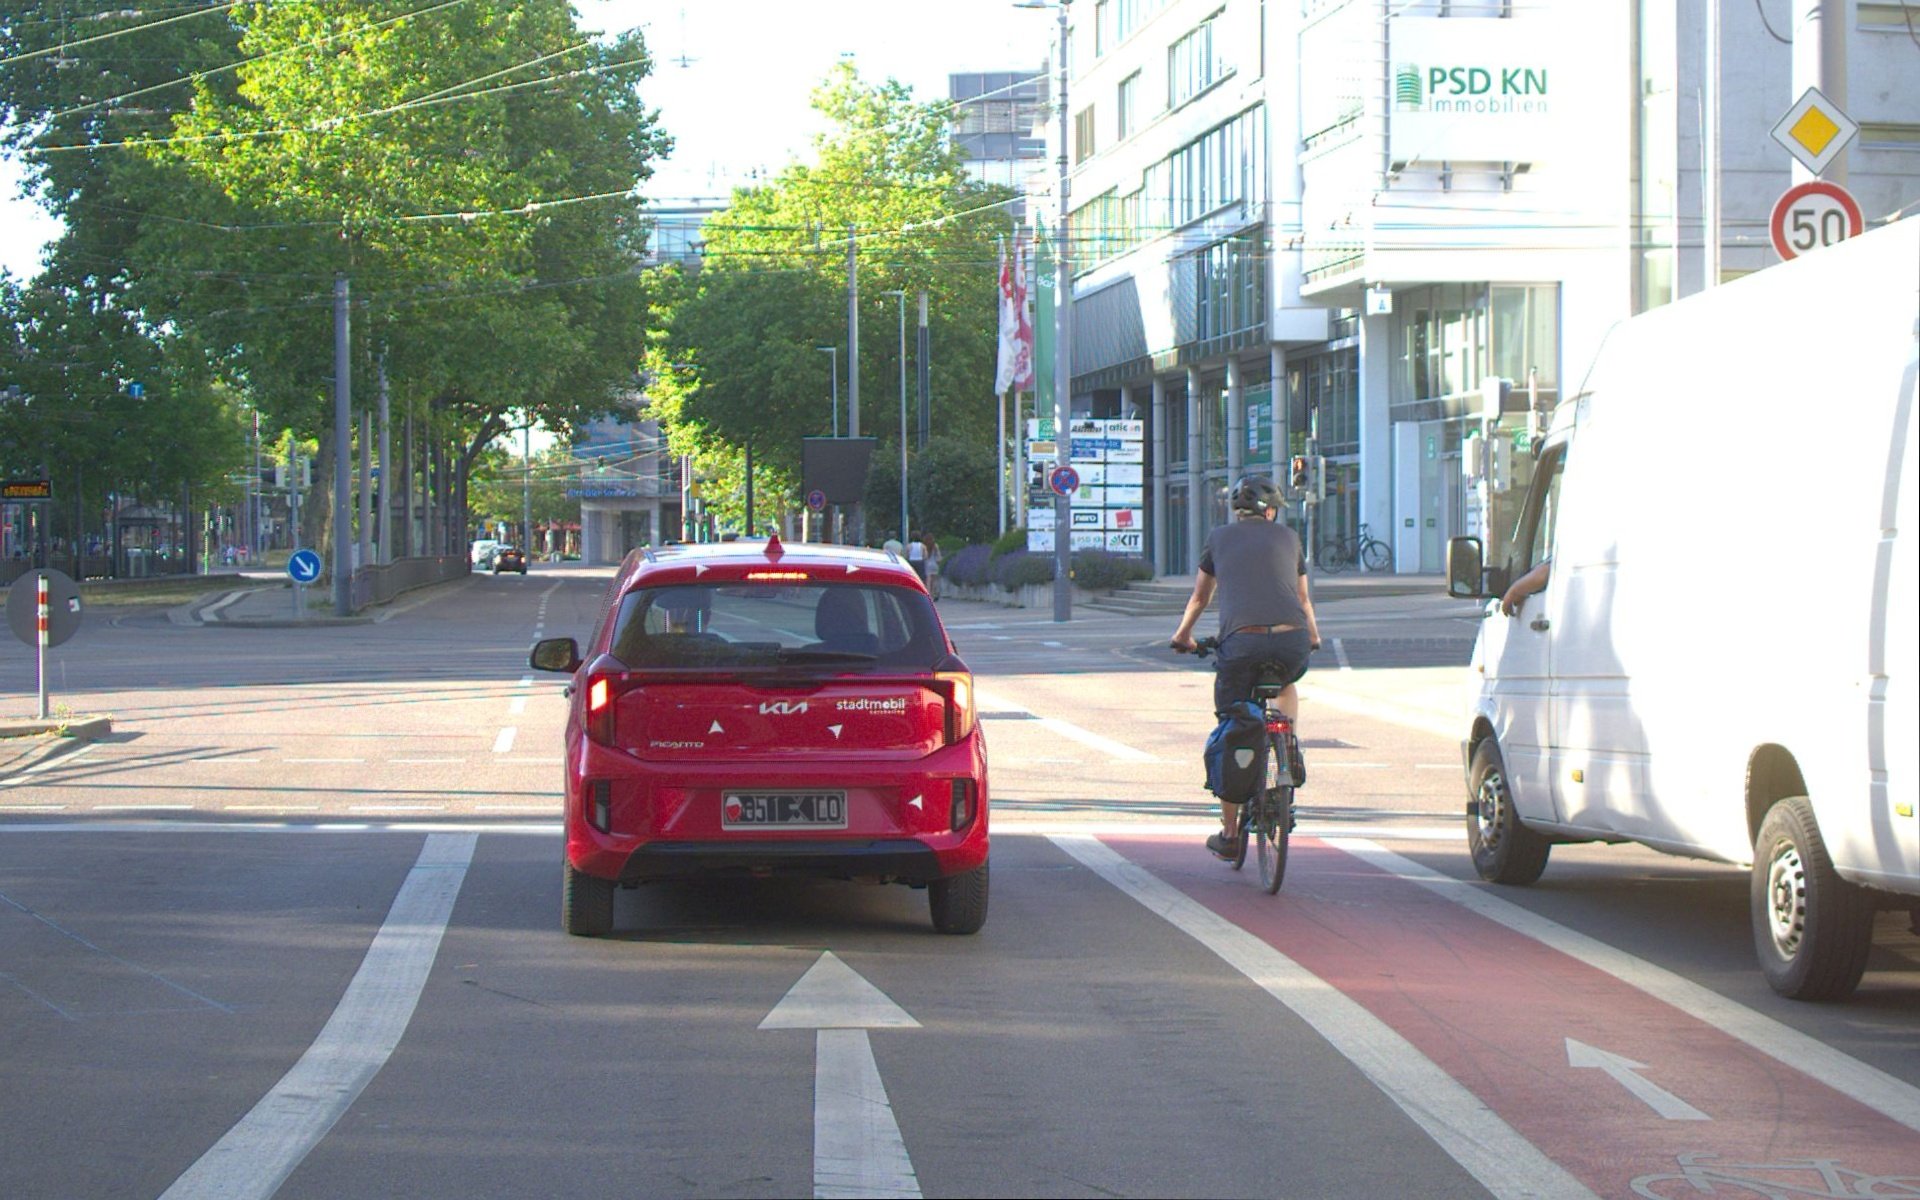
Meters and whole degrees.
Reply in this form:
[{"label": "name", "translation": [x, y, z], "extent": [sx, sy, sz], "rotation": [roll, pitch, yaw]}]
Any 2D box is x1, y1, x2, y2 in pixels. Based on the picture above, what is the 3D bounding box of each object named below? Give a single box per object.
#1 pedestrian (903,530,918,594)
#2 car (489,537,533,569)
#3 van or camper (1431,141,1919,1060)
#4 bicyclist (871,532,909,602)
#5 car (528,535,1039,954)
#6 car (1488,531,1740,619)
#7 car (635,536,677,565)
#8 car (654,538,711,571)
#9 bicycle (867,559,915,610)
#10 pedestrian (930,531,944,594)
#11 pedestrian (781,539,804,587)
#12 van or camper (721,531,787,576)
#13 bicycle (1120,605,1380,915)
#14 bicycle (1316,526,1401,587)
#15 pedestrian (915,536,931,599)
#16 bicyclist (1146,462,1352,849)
[{"label": "pedestrian", "translation": [-1.230, -0.944, 85.122], "extent": [0.294, 1.556, 0.302], "rotation": [-1, 1, -16]}, {"label": "car", "translation": [-23.821, -2.497, 182.308], "extent": [2.057, 1.648, 3.493], "rotation": [-1, 1, -12]}, {"label": "van or camper", "translation": [3.700, -0.035, 12.960], "extent": [2.268, 2.724, 6.348], "rotation": [2, 1, -6]}, {"label": "bicyclist", "translation": [-1.641, -0.782, 80.646], "extent": [0.785, 1.629, 0.639], "rotation": [-1, 1, -9]}, {"label": "car", "translation": [-0.850, 0.484, 14.316], "extent": [1.839, 1.484, 3.717], "rotation": [-1, 1, -7]}, {"label": "car", "translation": [12.215, -0.487, 64.315], "extent": [4.258, 1.562, 1.850], "rotation": [-1, 1, -8]}, {"label": "car", "translation": [-16.550, -2.687, 187.166], "extent": [1.884, 1.523, 4.433], "rotation": [-1, 1, -10]}, {"label": "car", "translation": [-13.859, -2.280, 171.511], "extent": [2.478, 1.523, 4.433], "rotation": [-1, 1, -8]}, {"label": "bicycle", "translation": [-1.613, -0.372, 80.539], "extent": [0.792, 1.157, 2.500], "rotation": [-1, 1, -9]}, {"label": "pedestrian", "translation": [-0.576, -0.944, 85.553], "extent": [0.294, 1.556, 0.314], "rotation": [-1, 1, -6]}, {"label": "pedestrian", "translation": [-6.071, -1.354, 124.524], "extent": [0.742, 1.710, 0.748], "rotation": [-1, 1, -9]}, {"label": "van or camper", "translation": [-8.389, -1.912, 139.443], "extent": [2.145, 1.744, 4.433], "rotation": [-1, 1, -10]}, {"label": "bicycle", "translation": [1.256, 0.669, 15.382], "extent": [0.743, 1.220, 2.156], "rotation": [1, 1, -6]}, {"label": "bicycle", "translation": [9.602, -1.045, 82.791], "extent": [1.934, 1.438, 0.575], "rotation": [-1, 1, -8]}, {"label": "pedestrian", "translation": [-0.912, -0.799, 85.309], "extent": [0.294, 1.556, 0.356], "rotation": [-1, 1, -16]}, {"label": "bicyclist", "translation": [1.272, 0.235, 15.246], "extent": [0.743, 1.663, 0.745], "rotation": [1, 1, -6]}]
